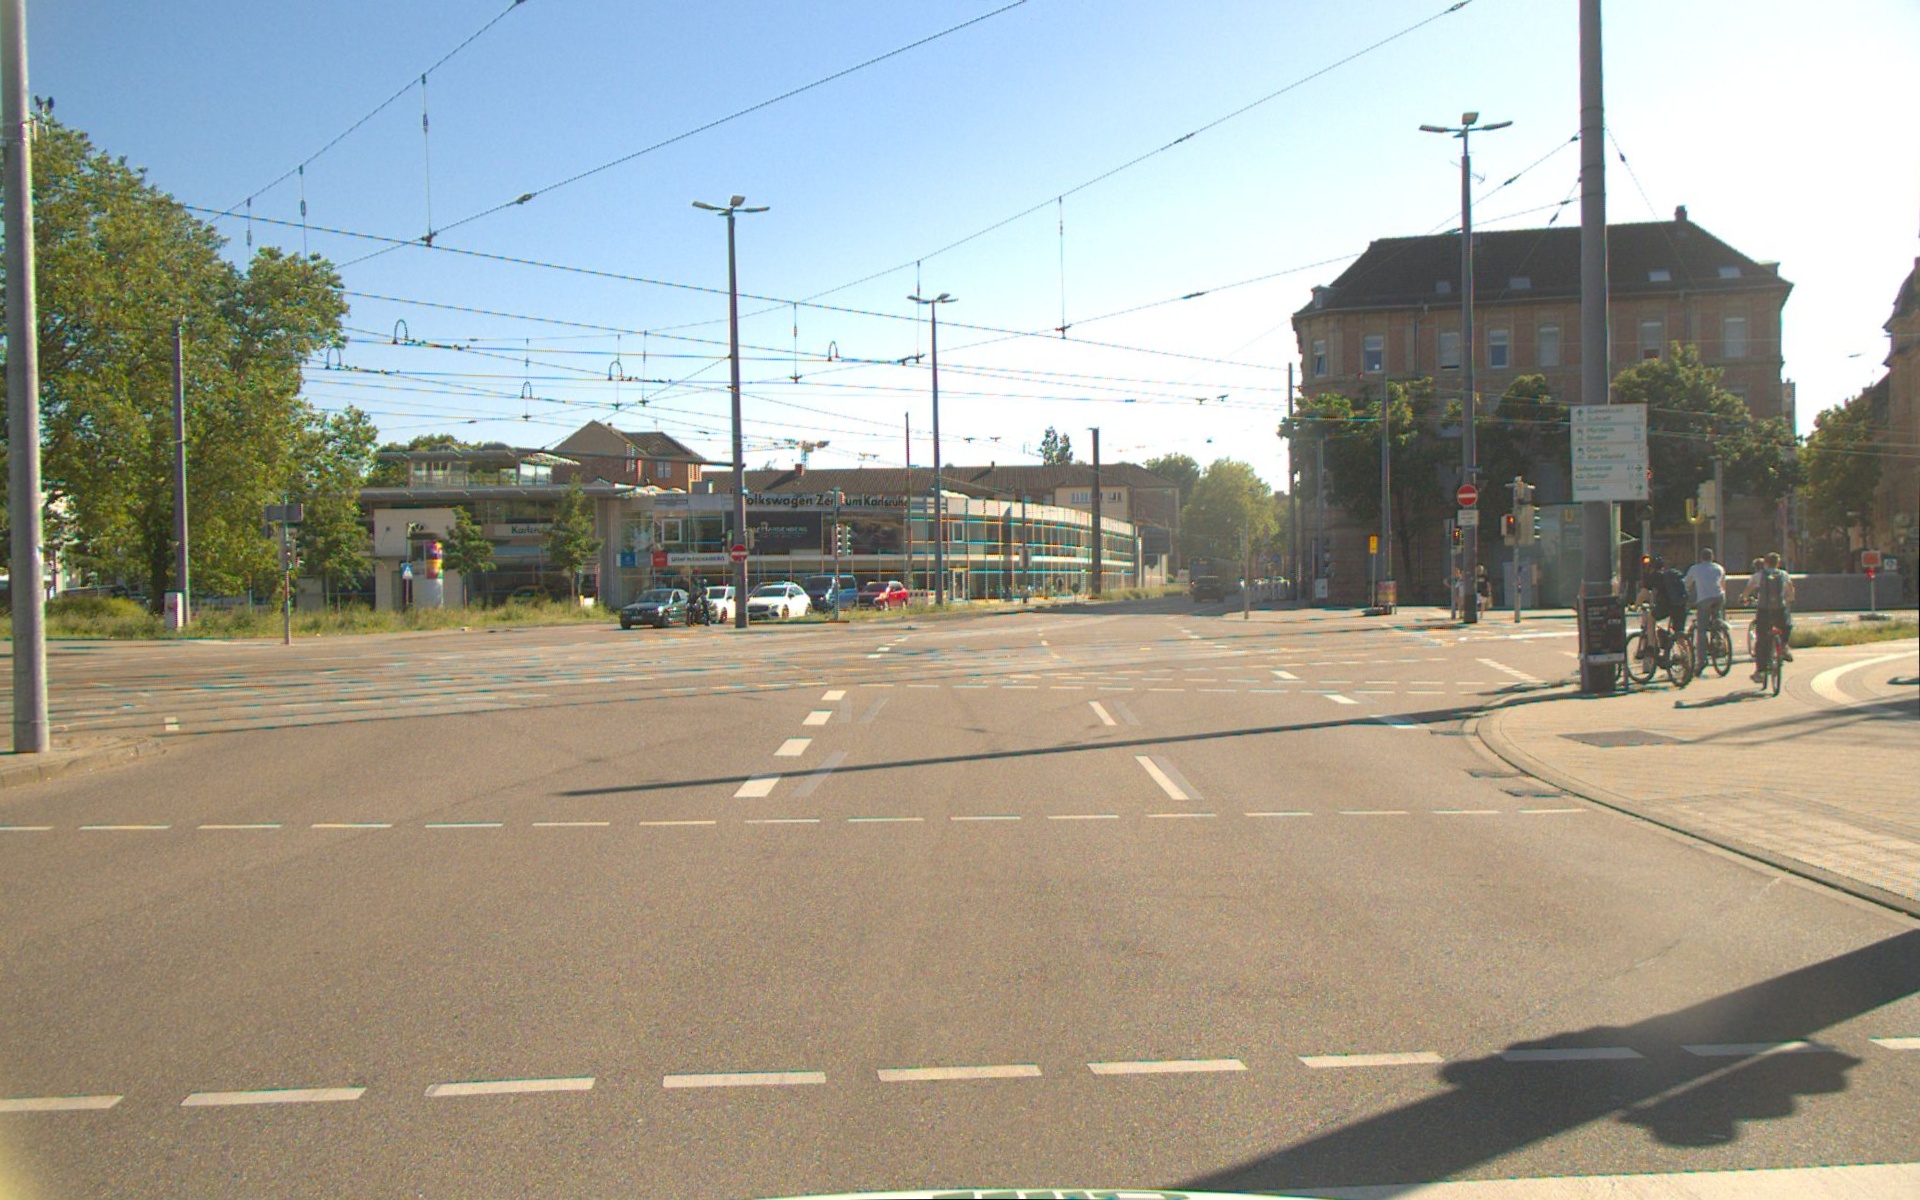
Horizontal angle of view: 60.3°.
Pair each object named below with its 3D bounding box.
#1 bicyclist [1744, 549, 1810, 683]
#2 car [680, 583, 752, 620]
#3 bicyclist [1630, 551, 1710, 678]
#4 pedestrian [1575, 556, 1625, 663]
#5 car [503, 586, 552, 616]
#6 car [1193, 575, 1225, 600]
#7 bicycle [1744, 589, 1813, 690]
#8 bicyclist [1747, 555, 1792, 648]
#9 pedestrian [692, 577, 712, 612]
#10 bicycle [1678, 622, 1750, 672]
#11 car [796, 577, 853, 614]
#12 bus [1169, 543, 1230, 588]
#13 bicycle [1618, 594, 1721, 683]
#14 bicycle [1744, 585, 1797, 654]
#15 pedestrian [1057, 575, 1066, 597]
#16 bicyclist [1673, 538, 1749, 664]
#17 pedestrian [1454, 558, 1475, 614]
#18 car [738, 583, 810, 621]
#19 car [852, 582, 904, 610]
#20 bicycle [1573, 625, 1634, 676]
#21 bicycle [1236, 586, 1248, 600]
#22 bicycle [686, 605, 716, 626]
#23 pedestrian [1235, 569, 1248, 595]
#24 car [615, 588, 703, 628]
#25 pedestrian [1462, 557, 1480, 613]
[{"bbox_3d":[10.177,0.191,20.621,0.671,1.626,0.977,-1,0,24],"label":"bicyclist"},{"bbox_3d":[-9.788,0.043,66.665,1.591,1.448,3.689,-1,1,14],"label":"car"},{"bbox_3d":[9.726,0.188,22.688,0.612,1.666,0.995,-3,0,1],"label":"bicyclist"},{"bbox_3d":[9.663,0.141,24.988,0.536,1.590,0.859,-1,0,11],"label":"pedestrian"},{"bbox_3d":[-25.977,0.046,99.466,1.926,1.735,4.083,-1,1,-1],"label":"car"},{"bbox_3d":[16.333,-0.835,108.425,1.663,1.529,4.268,-1,1,14],"label":"car"},{"bbox_3d":[10.162,0.467,20.569,0.671,1.184,1.882,-1,0,24],"label":"bicycle"},{"bbox_3d":[14.032,0.019,28.679,0.559,1.596,0.947,0,0,18],"label":"bicyclist"},{"bbox_3d":[-9.391,-0.204,60.283,0.413,1.225,0.750,-1,0,16],"label":"pedestrian"},{"bbox_3d":[11.218,0.689,24.642,0.525,0.667,1.469,-2,1,6],"label":"bicycle"},{"bbox_3d":[-6.425,-0.238,78.852,1.591,1.722,3.689,-1,1,14],"label":"car"},{"bbox_3d":[22.936,-3.134,156.898,3.755,3.670,24.886,1,0,13],"label":"bus"},{"bbox_3d":[9.743,0.502,22.787,0.612,1.133,1.851,-3,0,1],"label":"bicycle"},{"bbox_3d":[14.030,0.322,28.653,0.559,1.145,1.741,0,1,18],"label":"bicycle"},{"bbox_3d":[7.812,-1.089,127.725,0.531,1.718,0.630,-1,0,18],"label":"pedestrian"},{"bbox_3d":[11.171,0.012,24.629,0.731,1.809,0.925,-2,0,6],"label":"bicyclist"},{"bbox_3d":[18.387,-0.516,60.248,0.564,2.049,0.449,-1,1,-19],"label":"pedestrian"},{"bbox_3d":[-7.236,0.075,64.822,1.591,1.406,3.741,-1,1,14],"label":"car"},{"bbox_3d":[-4.247,-0.202,86.012,1.591,1.388,3.688,-1,1,16],"label":"car"},{"bbox_3d":[9.736,0.756,25.051,0.525,0.667,1.727,-4,0,11],"label":"bicycle"},{"bbox_3d":[17.886,-0.447,104.922,0.727,0.885,1.933,-1,0,11],"label":"bicycle"},{"bbox_3d":[-9.424,0.555,60.137,0.413,0.730,1.636,-1,1,16],"label":"bicycle"},{"bbox_3d":[17.909,-1.155,105.286,0.785,1.660,0.719,-1,0,10],"label":"pedestrian"},{"bbox_3d":[-11.011,0.264,60.692,1.667,1.378,3.703,-1,1,16],"label":"car"},{"bbox_3d":[18.859,-0.542,61.018,0.453,2.049,0.449,-1,1,-18],"label":"pedestrian"}]
